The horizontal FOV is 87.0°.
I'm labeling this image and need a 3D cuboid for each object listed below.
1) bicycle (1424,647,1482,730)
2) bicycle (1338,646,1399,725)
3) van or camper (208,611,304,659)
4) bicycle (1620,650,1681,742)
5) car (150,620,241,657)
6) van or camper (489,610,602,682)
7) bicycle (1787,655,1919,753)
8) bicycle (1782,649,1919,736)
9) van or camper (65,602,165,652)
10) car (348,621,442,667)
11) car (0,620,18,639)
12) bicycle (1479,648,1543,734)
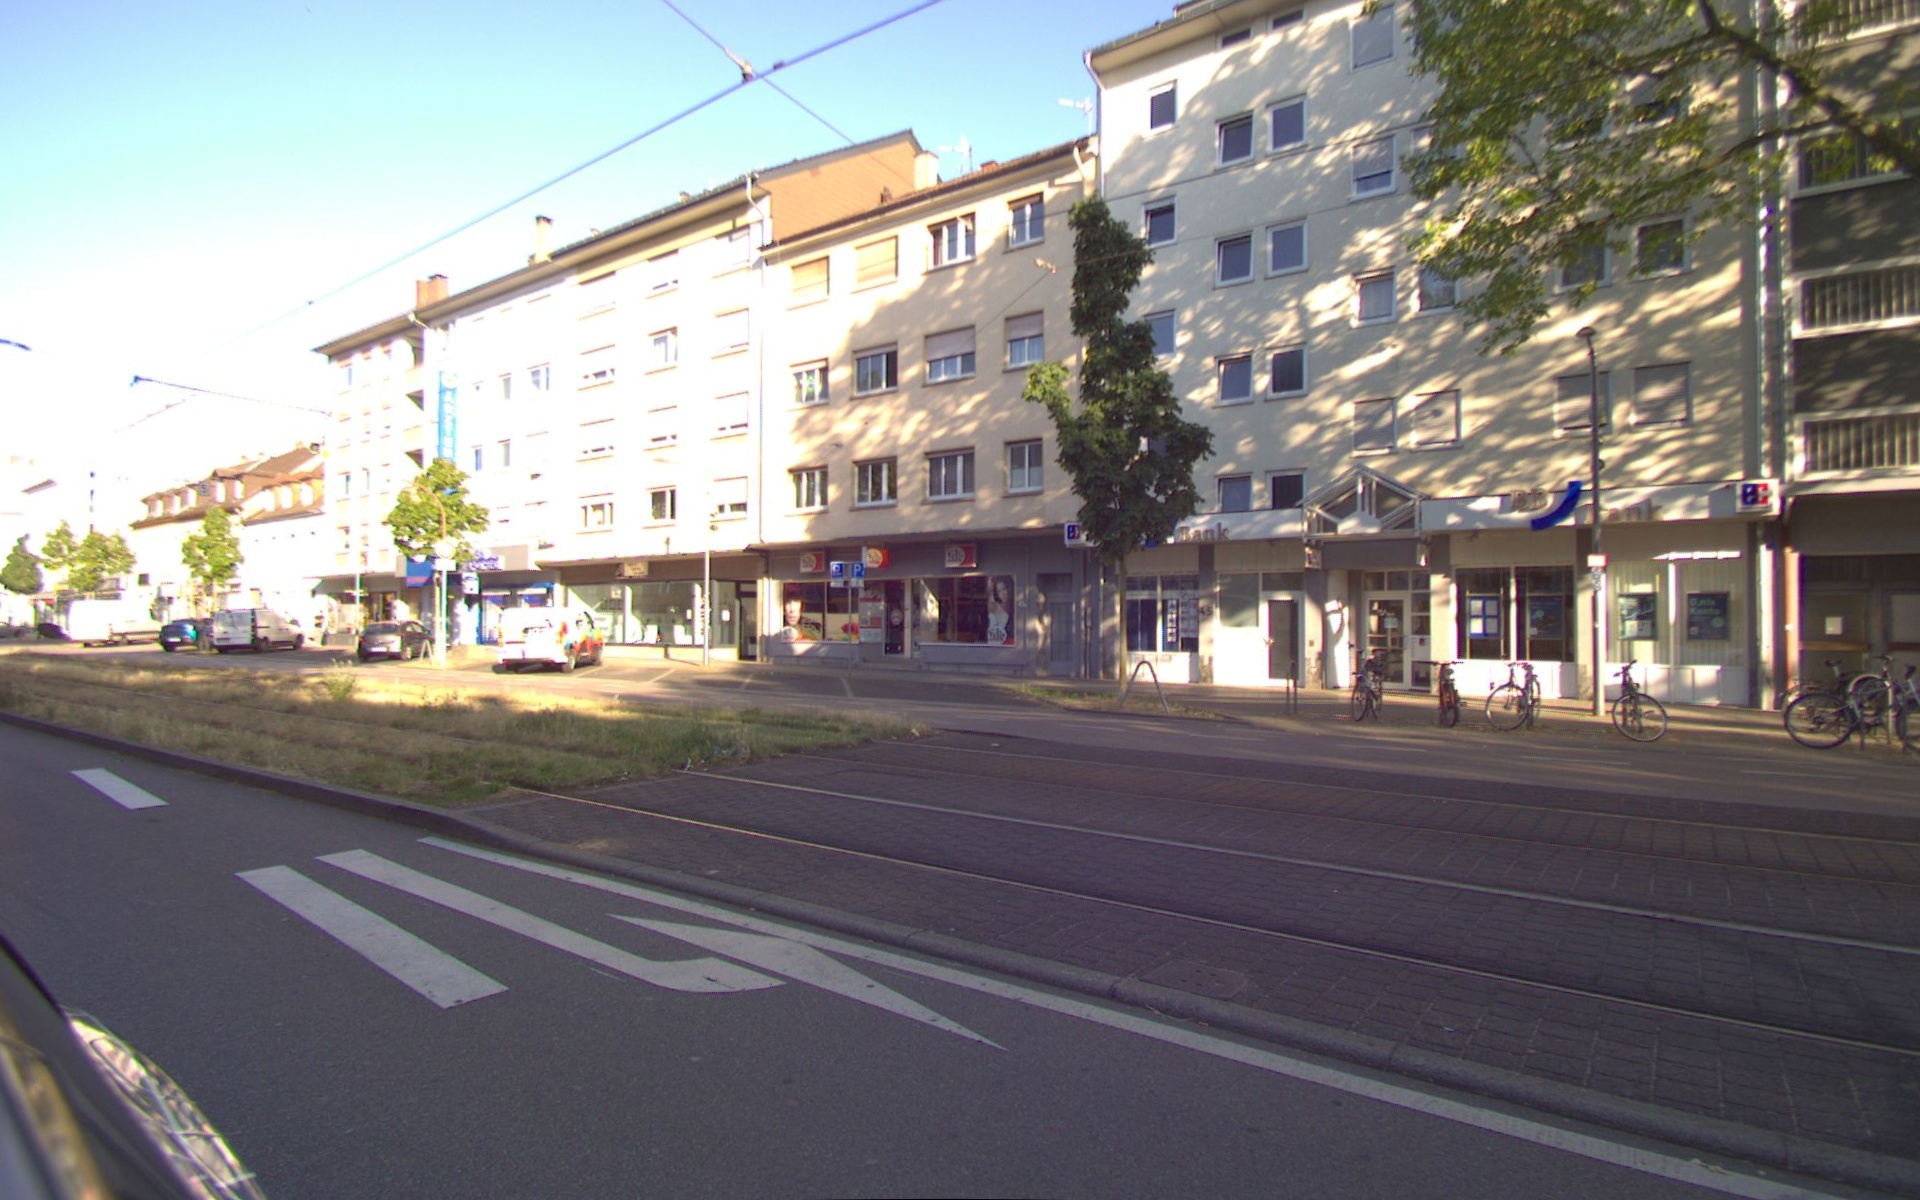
[{"bbox_3d":[7.670,1.337,15.712,0.533,1.133,1.878,-1,-1,34],"label":"bicycle"},{"bbox_3d":[6.650,1.350,16.438,0.533,1.133,1.878,-1,-1,34],"label":"bicycle"},{"bbox_3d":[-32.091,1.533,46.297,1.772,2.004,4.459,-1,0,-8],"label":"van or camper"},{"bbox_3d":[9.712,1.311,14.248,0.650,1.133,1.878,-1,-1,34],"label":"bicycle"},{"bbox_3d":[-37.798,1.869,50.157,1.850,1.598,4.006,-1,0,-7],"label":"car"},{"bbox_3d":[-12.514,1.320,30.901,1.921,1.912,4.821,-1,0,-6],"label":"van or camper"},{"bbox_3d":[11.464,1.272,12.497,1.908,1.133,0.503,-1,-1,38],"label":"bicycle"},{"bbox_3d":[12.760,1.278,14.178,1.908,1.133,0.503,-1,-1,38],"label":"bicycle"},{"bbox_3d":[-48.832,1.505,58.668,1.966,2.687,6.417,-1,0,-16],"label":"van or camper"},{"bbox_3d":[-21.191,1.615,38.170,1.741,1.501,4.461,-1,0,-10],"label":"car"},{"bbox_3d":[-76.706,2.372,79.296,1.752,1.501,3.899,-1,0,13],"label":"car"},{"bbox_3d":[8.319,1.332,15.242,0.650,1.133,1.878,-1,-1,34],"label":"bicycle"}]
